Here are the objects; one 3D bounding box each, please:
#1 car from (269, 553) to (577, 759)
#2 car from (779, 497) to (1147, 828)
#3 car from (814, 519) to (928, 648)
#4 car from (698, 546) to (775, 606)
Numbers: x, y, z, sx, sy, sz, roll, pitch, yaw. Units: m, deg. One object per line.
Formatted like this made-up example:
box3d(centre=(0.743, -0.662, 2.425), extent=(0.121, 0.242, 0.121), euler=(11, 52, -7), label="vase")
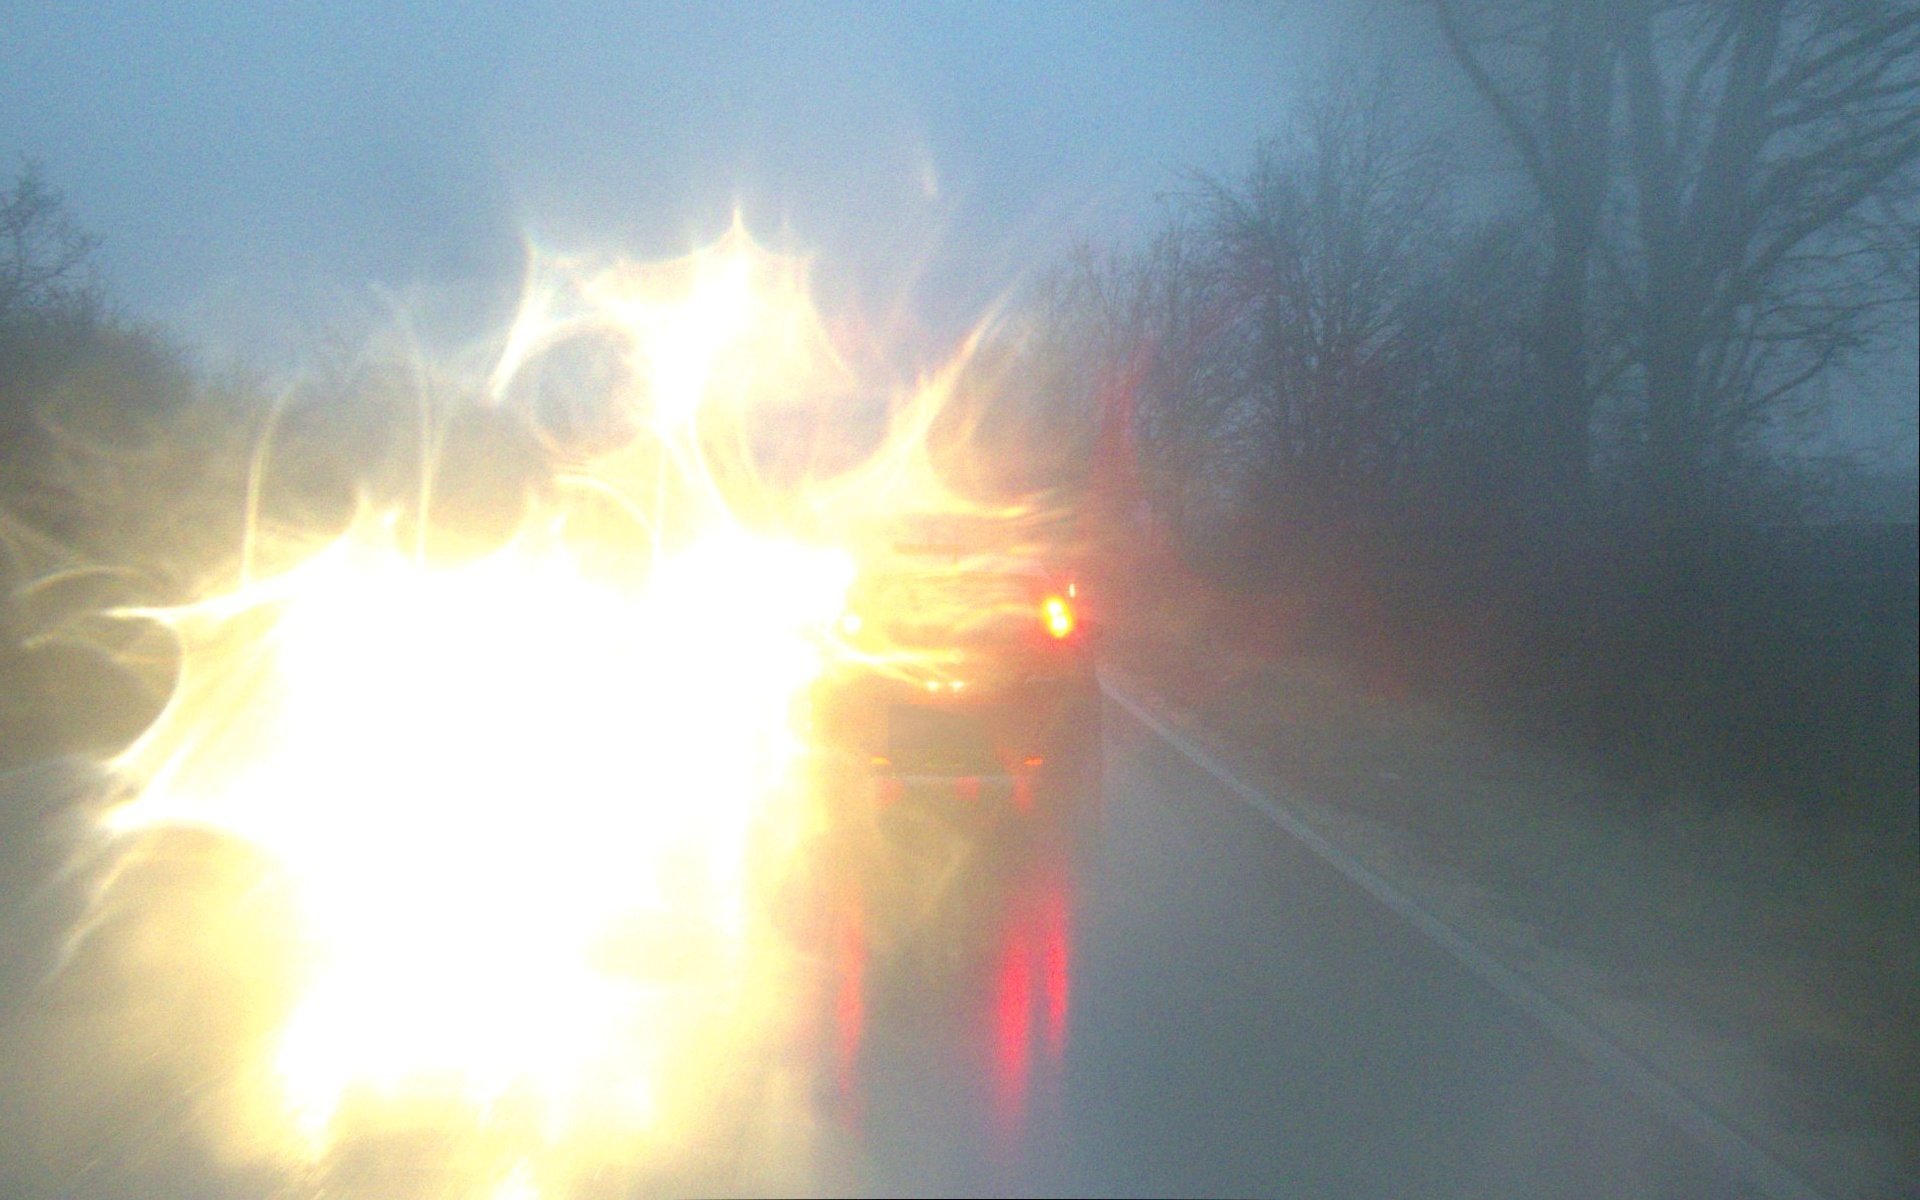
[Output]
box3d(centre=(-4.063, 0.380, 26.501), extent=(1.817, 1.436, 3.456), euler=(1, 1, 0), label="car")
box3d(centre=(0.038, 0.311, 20.892), extent=(1.993, 1.778, 4.000), euler=(1, 1, 1), label="car")
box3d(centre=(-1.326, -0.272, 52.446), extent=(1.574, 1.868, 3.709), euler=(1, 1, 1), label="car")
box3d(centre=(-5.667, -0.624, 87.459), extent=(1.751, 1.469, 3.891), euler=(0, 1, -1), label="car")
